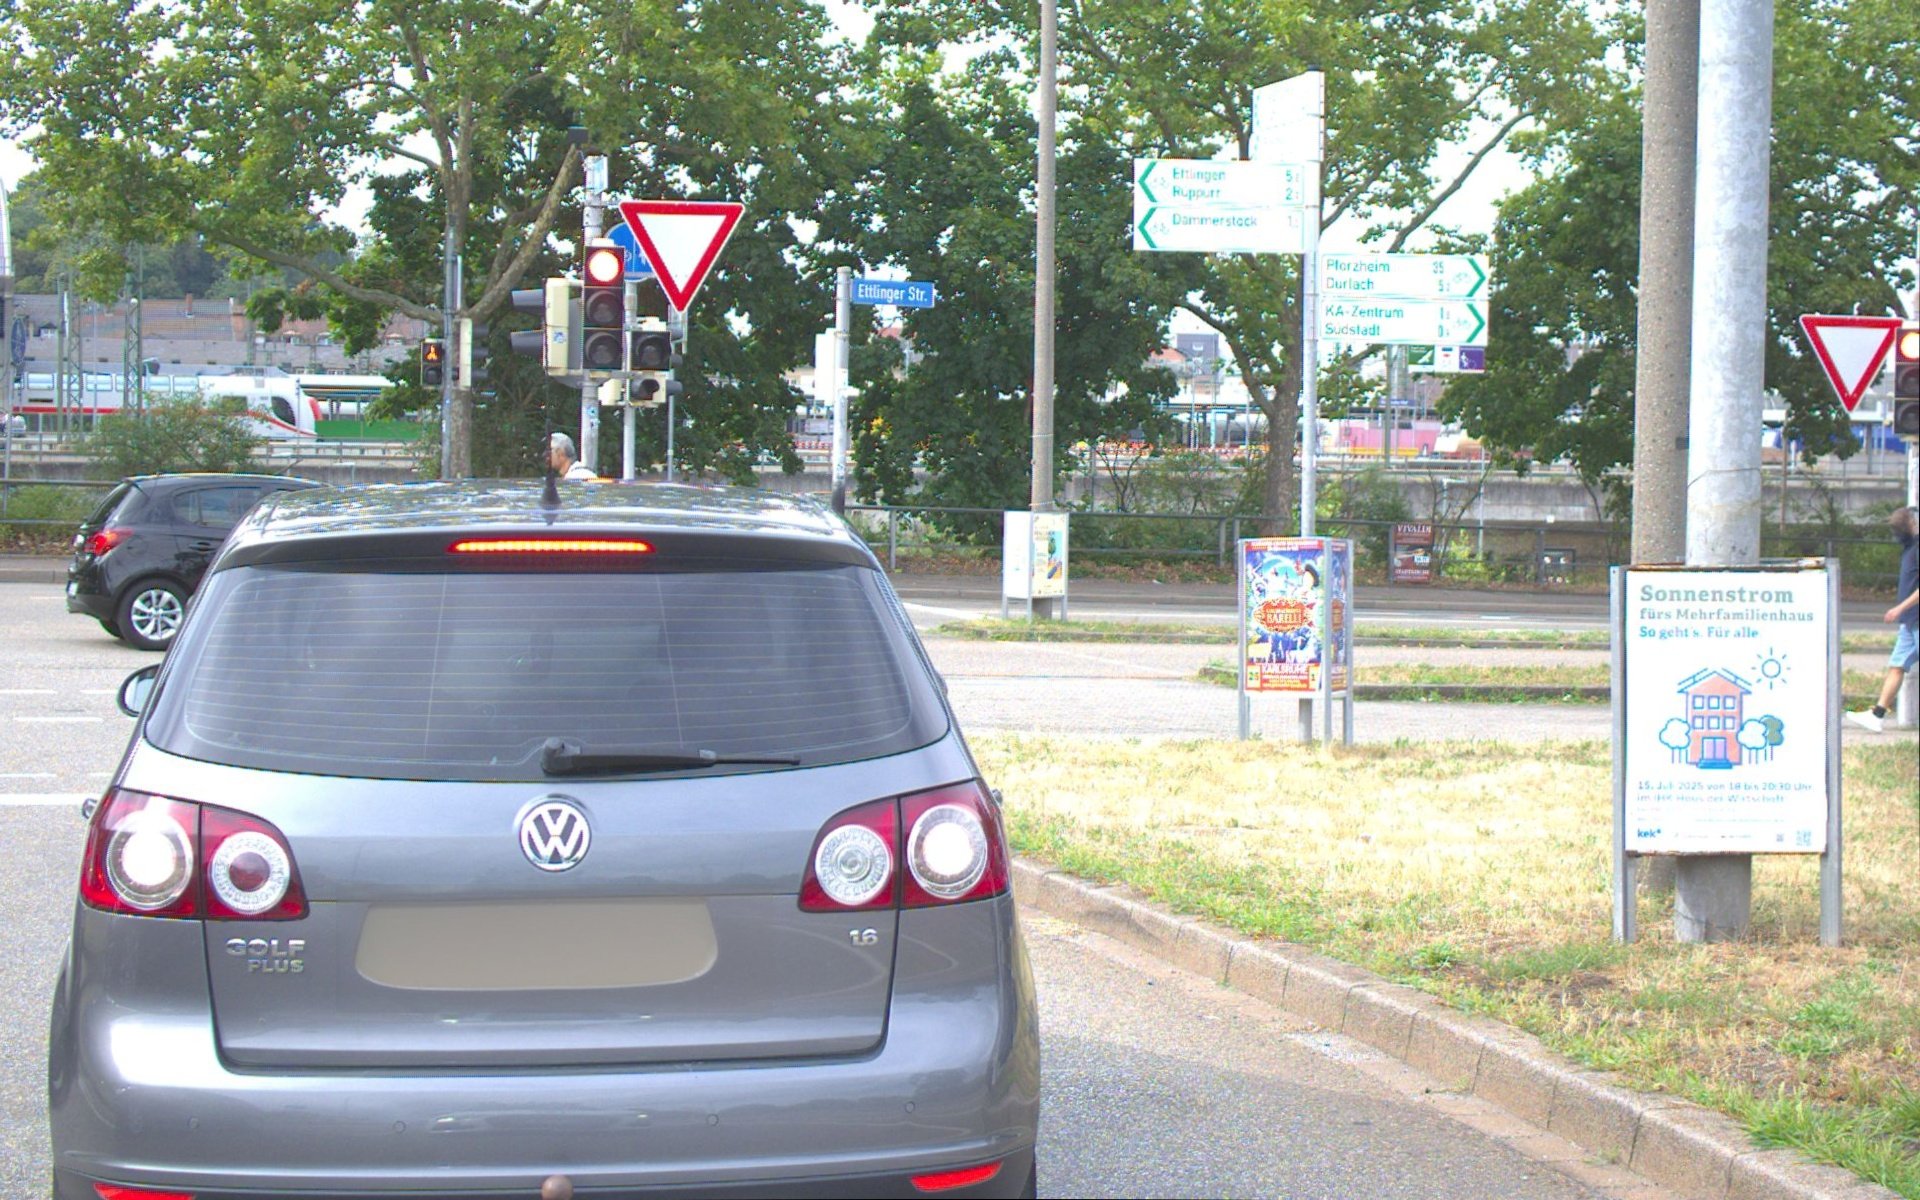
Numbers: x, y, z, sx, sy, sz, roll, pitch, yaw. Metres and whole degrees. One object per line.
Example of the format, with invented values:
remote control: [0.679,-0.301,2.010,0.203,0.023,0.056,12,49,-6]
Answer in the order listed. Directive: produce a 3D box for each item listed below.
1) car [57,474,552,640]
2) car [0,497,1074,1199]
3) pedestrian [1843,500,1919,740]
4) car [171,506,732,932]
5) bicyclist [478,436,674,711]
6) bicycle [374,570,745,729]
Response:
car: [-5.681,-0.376,29.702,4.056,1.363,1.703,0,2,-16]
car: [-0.985,0.565,7.397,1.740,1.541,4.083,0,1,-8]
pedestrian: [7.029,0.140,25.068,1.048,1.704,0.853,2,2,17]
car: [-2.233,0.363,14.141,1.740,1.477,4.083,0,1,-16]
bicyclist: [-2.425,-0.173,21.638,1.112,1.690,0.813,0,2,-14]
bicycle: [-2.529,0.300,21.627,2.227,0.949,0.812,0,2,-14]
